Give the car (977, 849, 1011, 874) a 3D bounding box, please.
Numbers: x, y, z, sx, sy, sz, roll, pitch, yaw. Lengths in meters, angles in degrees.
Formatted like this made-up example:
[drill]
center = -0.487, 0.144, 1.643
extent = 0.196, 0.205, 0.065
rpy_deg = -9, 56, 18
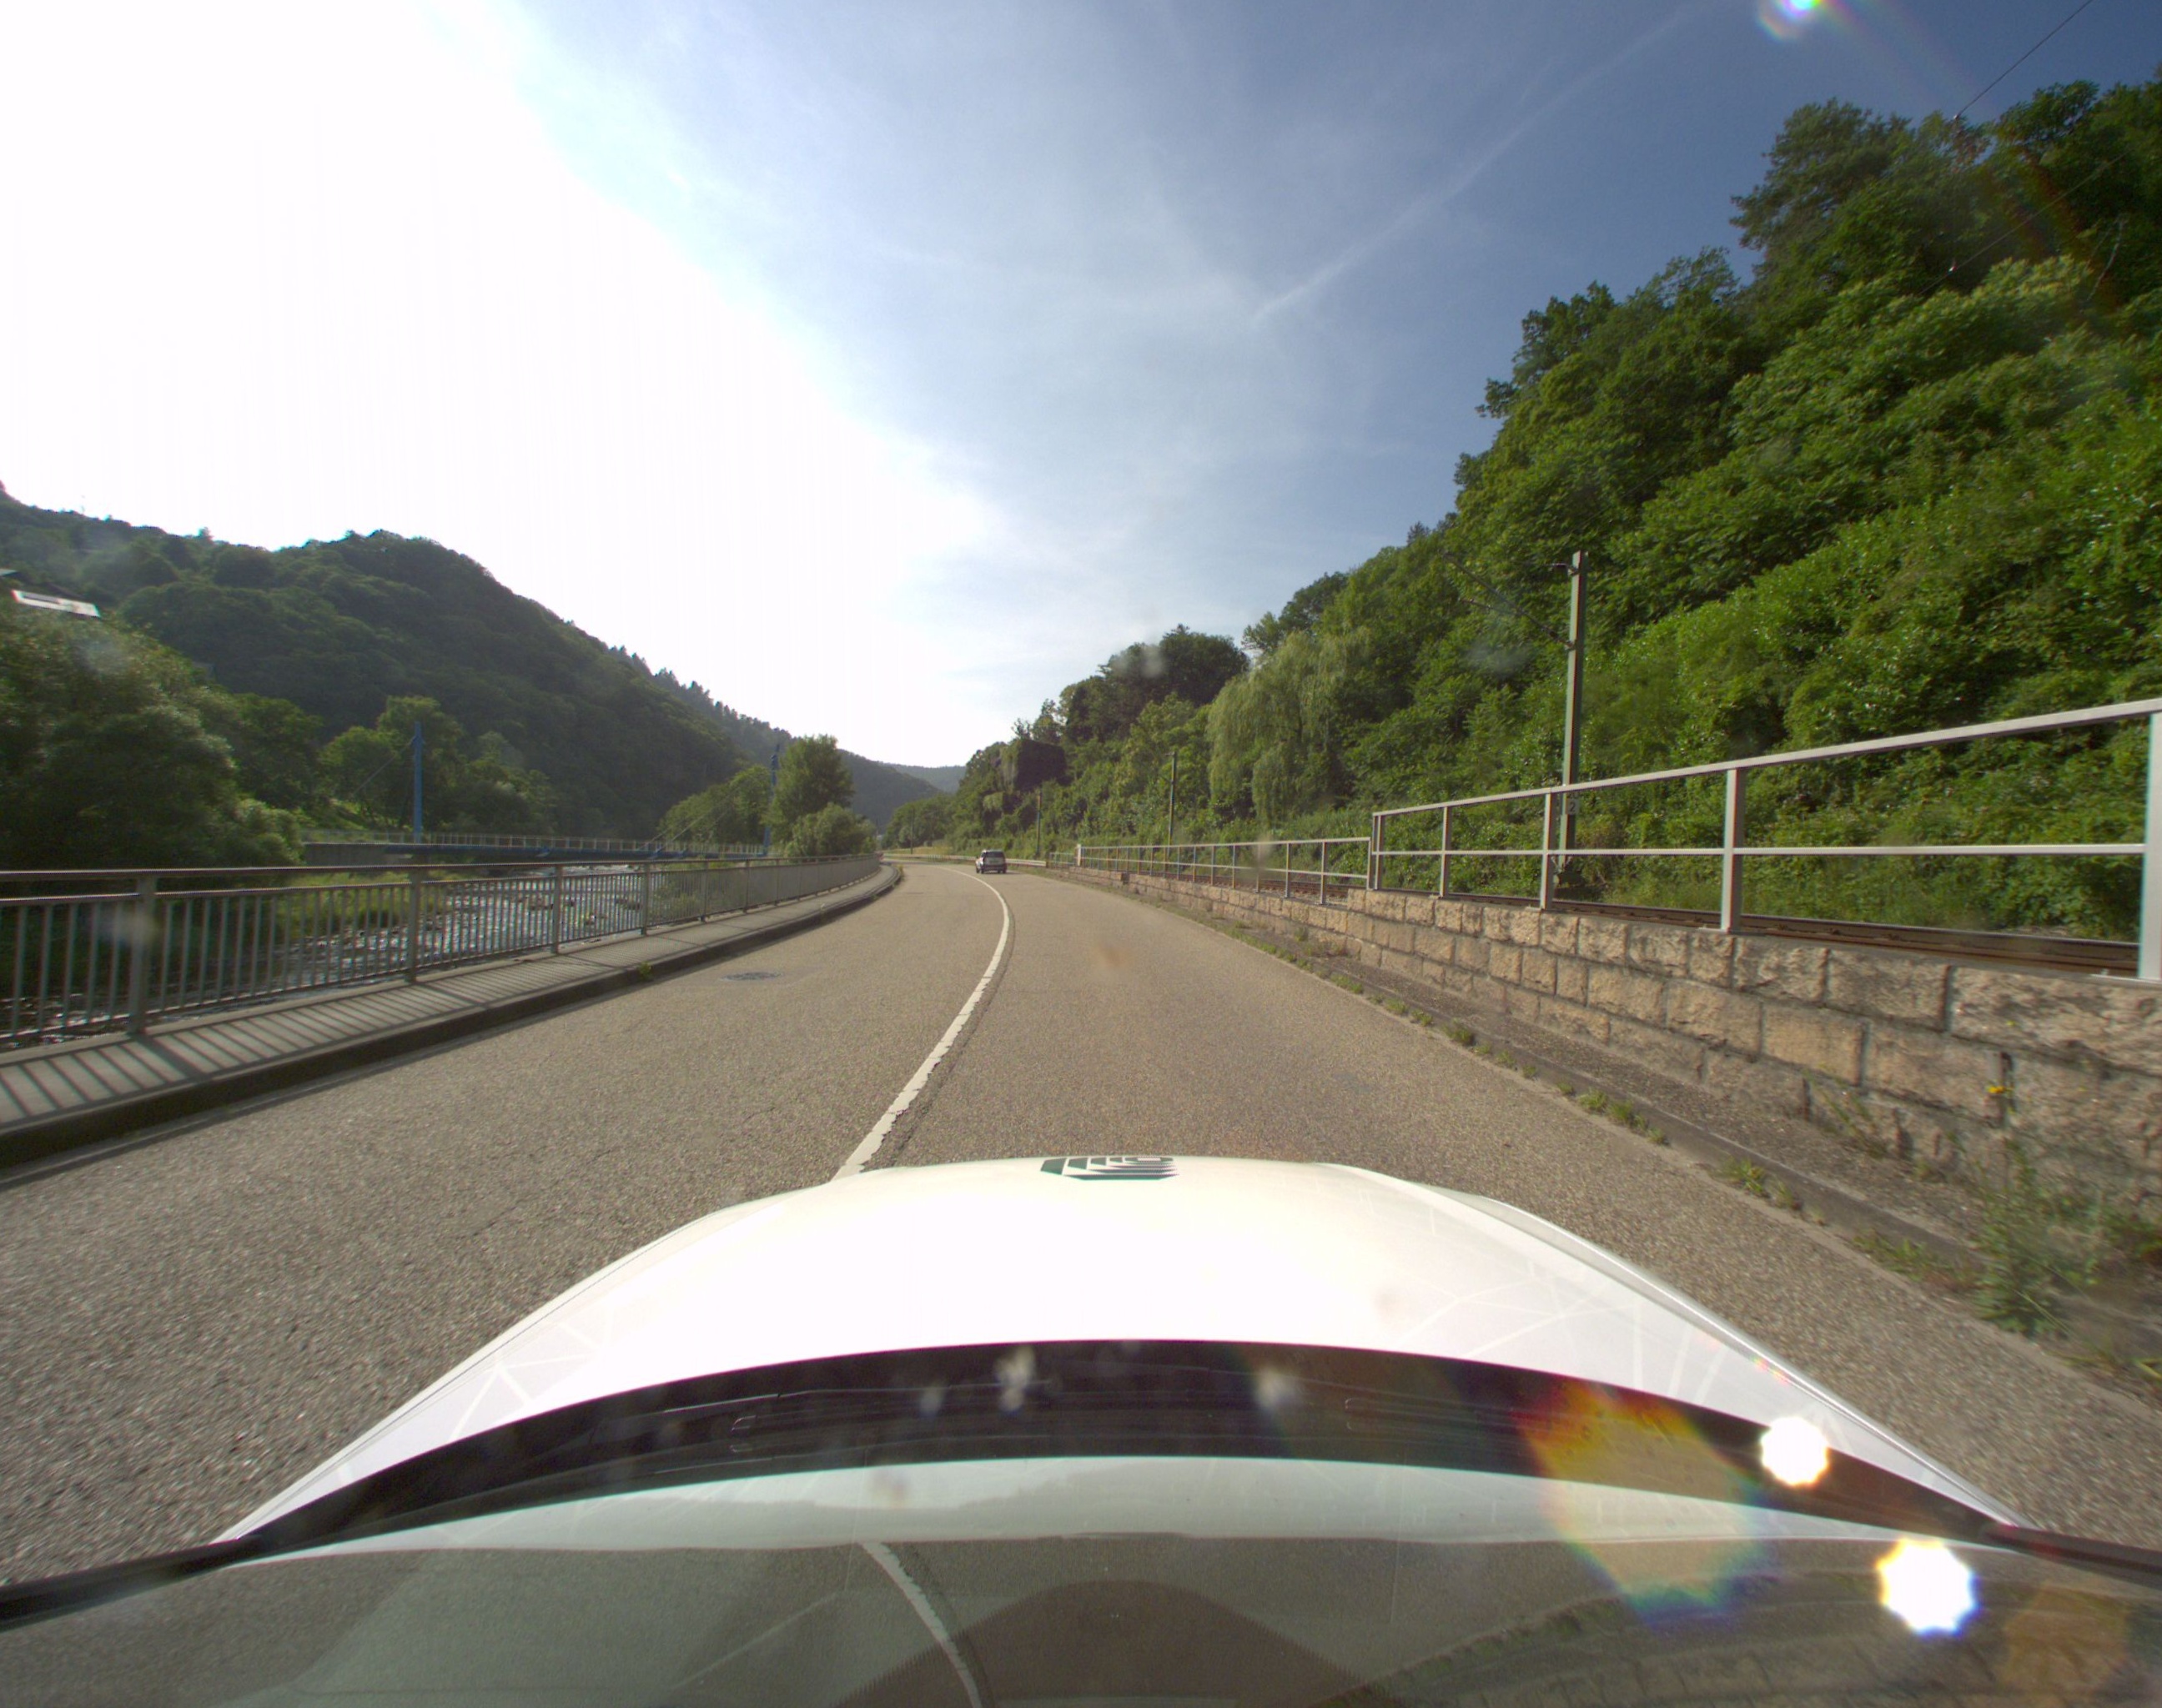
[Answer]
[car]
center = -6.138, 0.506, 57.077
extent = 1.874, 1.656, 3.983
rpy_deg = 0, 0, -13
